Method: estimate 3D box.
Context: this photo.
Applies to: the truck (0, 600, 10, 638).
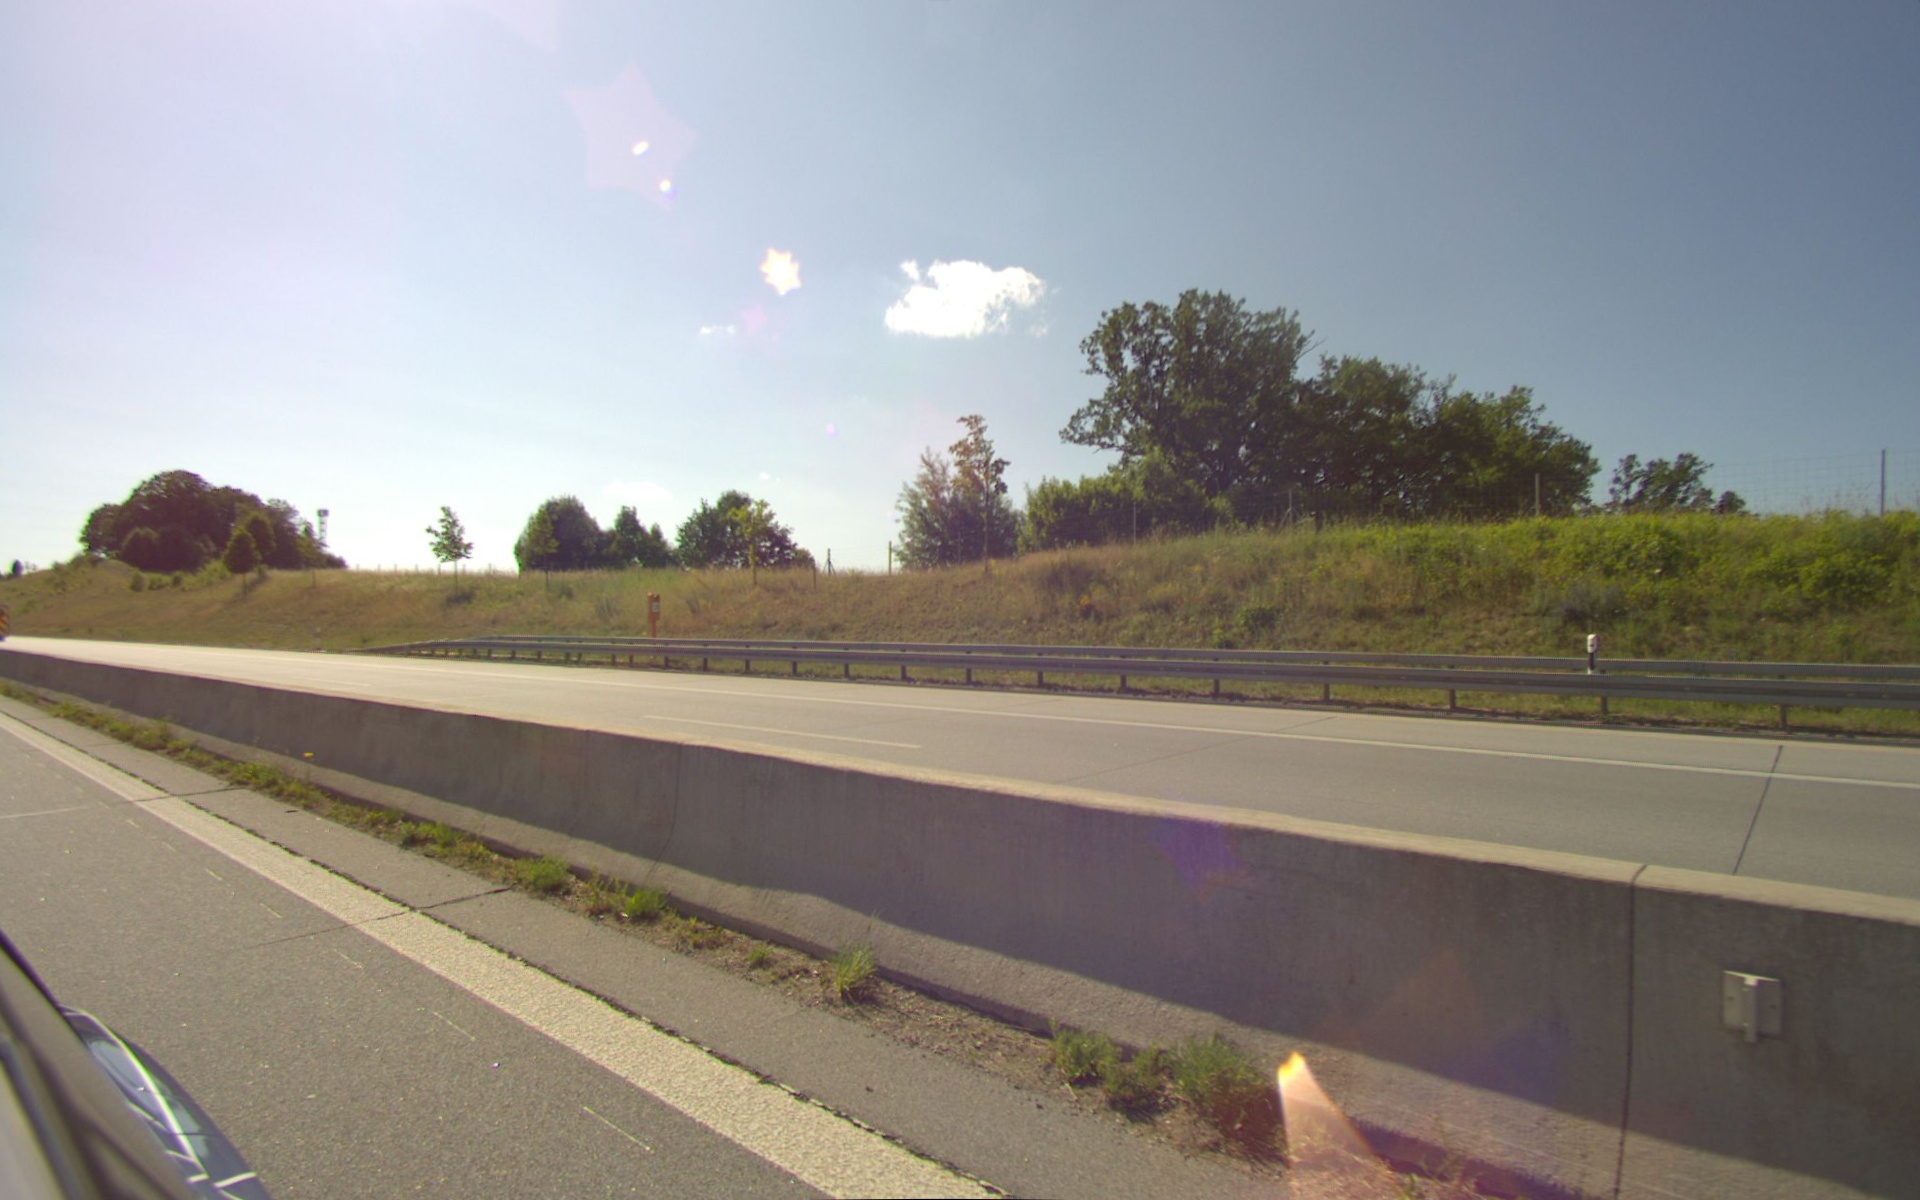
[{"bbox_3d":[-78.713,1.553,81.311,6.787,3.044,2.746,-1,-1,40],"label":"truck"}]
